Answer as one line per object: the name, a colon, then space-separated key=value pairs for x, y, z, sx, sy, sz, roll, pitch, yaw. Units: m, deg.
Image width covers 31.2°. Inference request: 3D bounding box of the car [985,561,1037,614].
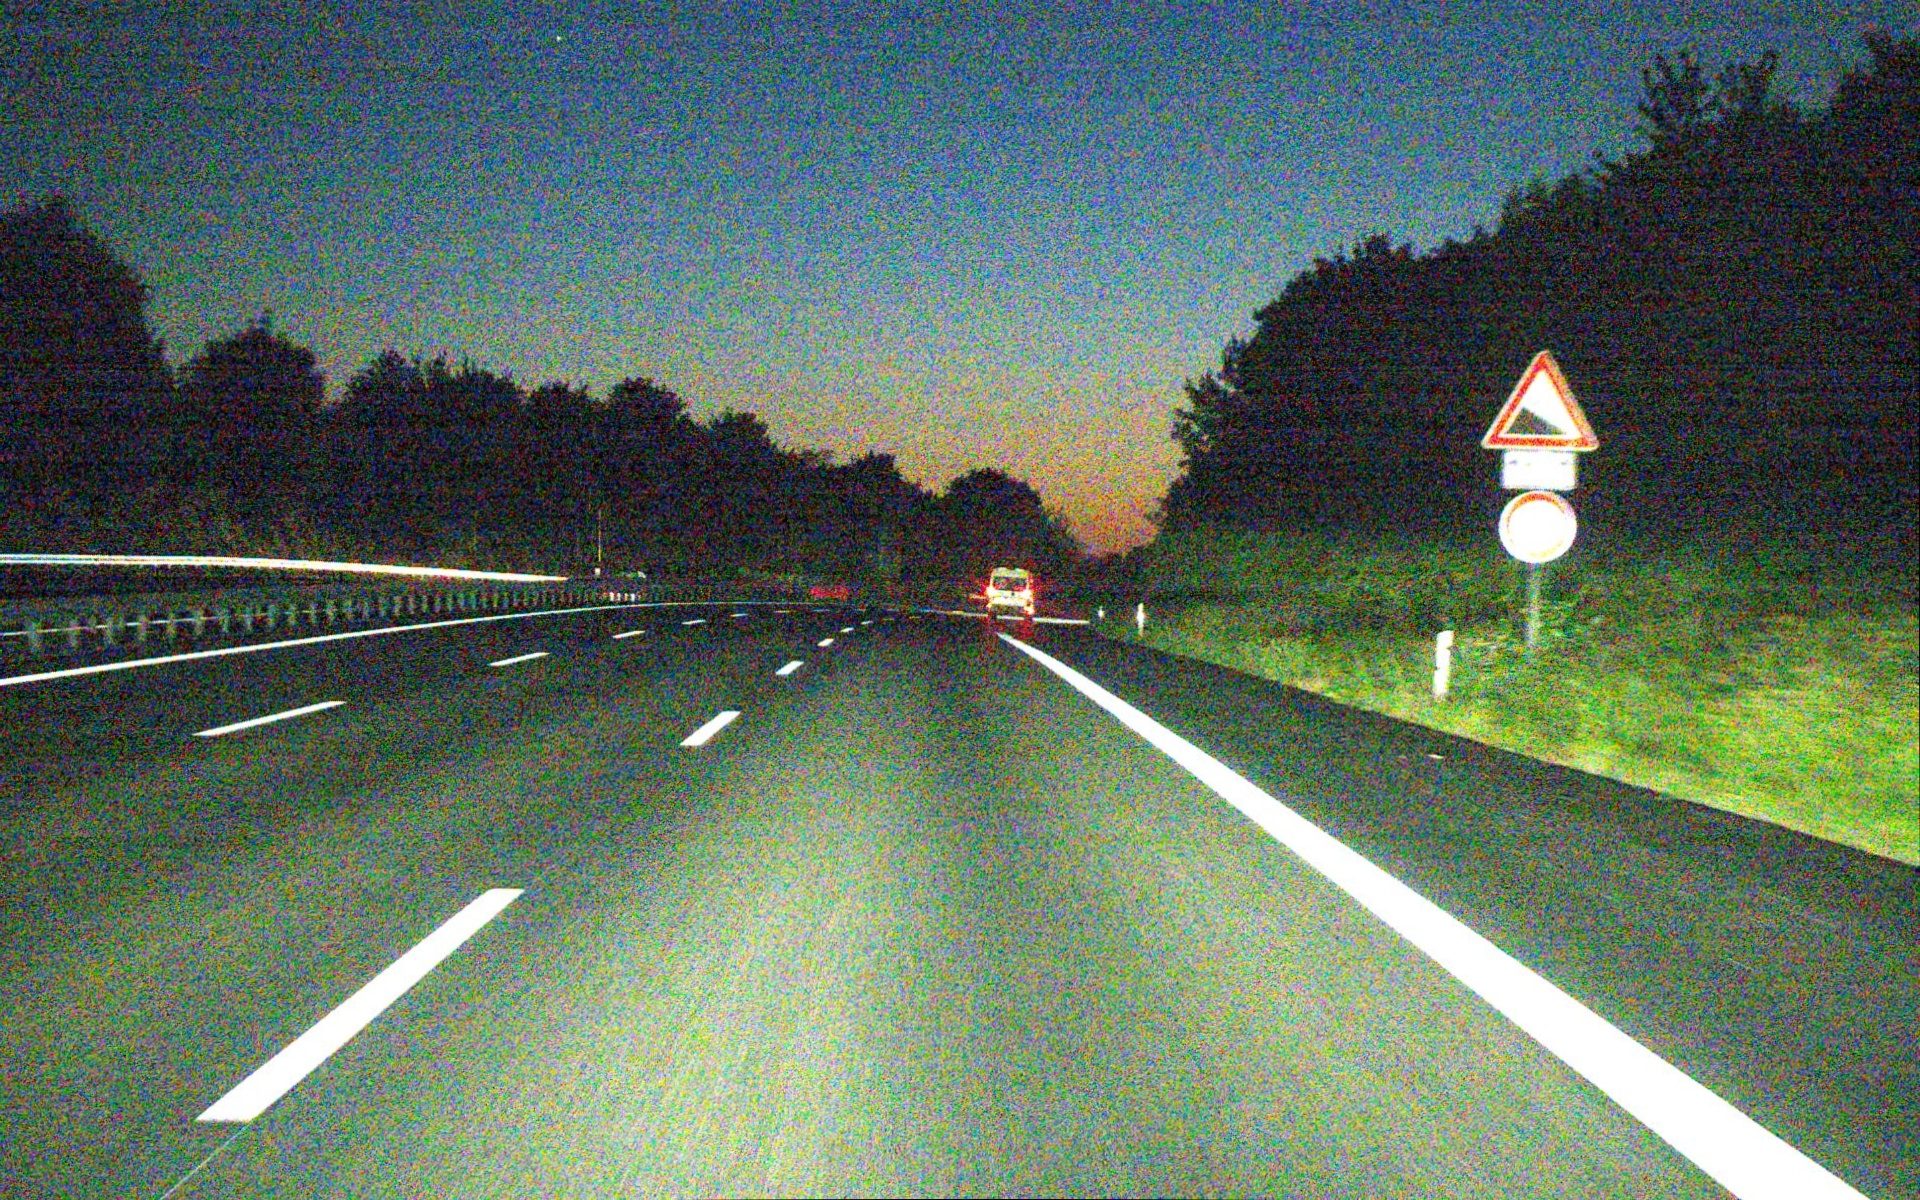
car: x=2.558 y=-0.666 z=171.900 sx=2.528 sy=2.544 sz=6.051 roll=1 pitch=1 yaw=1
